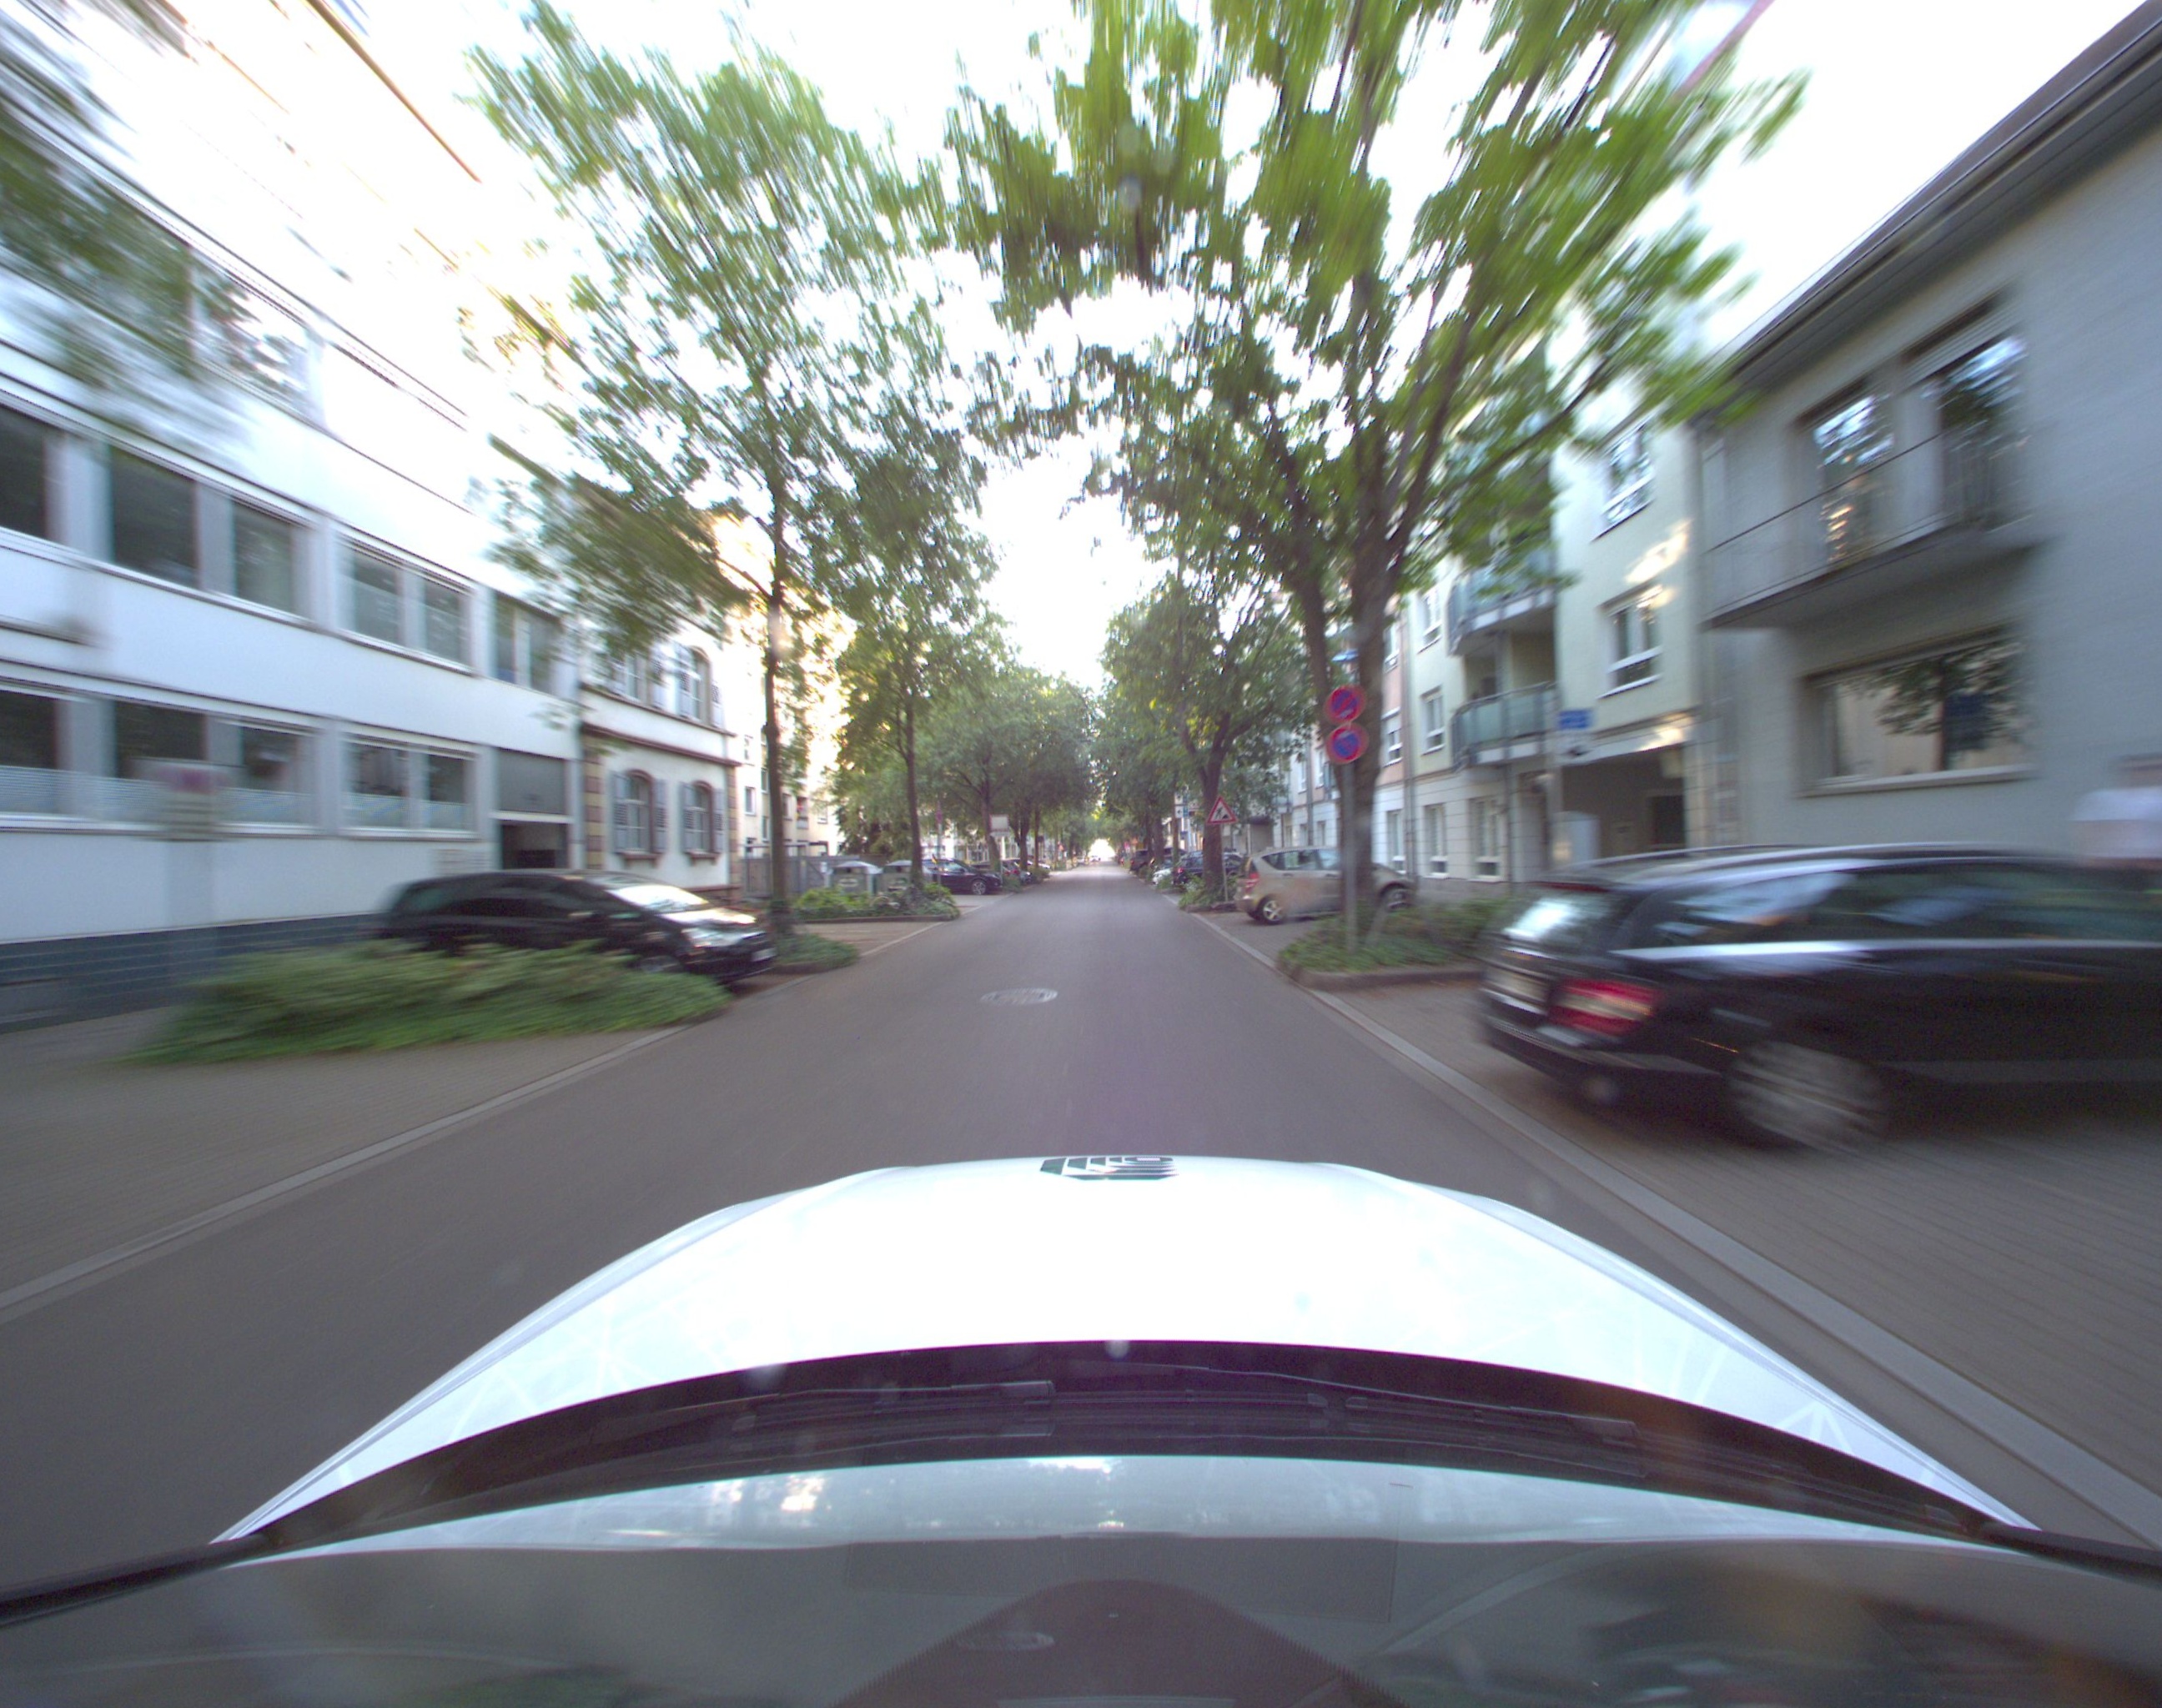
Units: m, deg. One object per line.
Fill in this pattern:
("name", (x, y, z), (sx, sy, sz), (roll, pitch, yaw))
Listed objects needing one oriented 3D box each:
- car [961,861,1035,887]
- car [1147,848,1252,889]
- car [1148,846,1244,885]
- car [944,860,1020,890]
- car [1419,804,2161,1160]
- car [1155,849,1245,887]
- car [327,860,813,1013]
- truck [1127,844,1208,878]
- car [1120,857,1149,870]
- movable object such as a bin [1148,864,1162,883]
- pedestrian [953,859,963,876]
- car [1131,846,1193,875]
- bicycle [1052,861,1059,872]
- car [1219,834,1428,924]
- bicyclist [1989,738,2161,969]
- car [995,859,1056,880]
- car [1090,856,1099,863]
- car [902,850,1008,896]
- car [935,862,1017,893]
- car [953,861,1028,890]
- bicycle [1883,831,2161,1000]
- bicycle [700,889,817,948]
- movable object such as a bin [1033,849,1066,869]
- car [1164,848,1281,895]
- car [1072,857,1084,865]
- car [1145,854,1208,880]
("car", (-5.083, 1.233, 50.301), (4.272, 1.430, 1.880), (-2, 0, 1))
("car", (5.457, 0.657, 37.970), (4.584, 1.468, 1.796), (-5, 0, 0))
("car", (6.049, 0.586, 43.136), (4.631, 1.617, 2.008), (-5, 0, -3))
("car", (-5.429, 1.155, 45.012), (3.975, 1.490, 1.824), (-2, 0, -1))
("car", (4.602, 0.575, 4.697), (4.437, 1.427, 2.014), (-5, -1, 5))
("car", (5.866, 0.679, 40.545), (4.206, 1.438, 1.931), (-5, -1, 3))
("car", (-6.256, 0.962, 10.443), (4.834, 1.621, 2.161), (-2, 0, 2))
("truck", (6.421, 0.506, 61.180), (5.865, 2.311, 2.213), (-2, -1, 2))
("car", (7.382, 1.336, 112.591), (3.970, 1.585, 2.002), (-2, -1, 3))
("movable object such as a bin", (4.466, 1.153, 49.027), (0.757, 1.084, 0.786), (-3, 0, 2))
("pedestrian", (-13.159, 1.435, 86.927), (0.884, 1.851, 0.876), (-2, 0, 2))
("car", (6.289, 0.512, 63.926), (4.585, 2.066, 2.197), (-2, 0, 0))
("bicycle", (-2.827, 1.390, 89.483), (0.681, 1.152, 1.978), (-2, 0, -4))
("car", (5.204, 0.524, 17.892), (3.956, 1.585, 1.916), (-4, -1, 0))
("bicyclist", (7.952, -0.013, 6.106), (0.968, 1.604, 1.135), (-2, -1, -3))
("car", (-4.485, 1.279, 66.176), (4.599, 1.552, 2.077), (-1, 0, 3))
("car", (3.139, 1.229, 188.112), (2.003, 1.613, 4.119), (-2, 0, 0))
("car", (-5.709, 0.854, 37.412), (4.490, 1.955, 2.000), (-2, 0, 0))
("car", (-5.451, 1.222, 42.629), (3.974, 1.464, 1.922), (-2, 0, -1))
("car", (-5.250, 1.249, 47.675), (3.966, 1.565, 1.933), (-2, 0, 6))
("bicycle", (7.743, 0.419, 5.742), (0.619, 1.164, 3.396), (-2, 0, -4))
("bicycle", (-4.952, 0.988, 12.549), (1.545, 0.830, 0.614), (-2, 0, 4))
("movable object such as a bin", (-4.009, 0.587, 104.048), (4.039, 2.383, 2.780), (-2, 0, -4))
("car", (5.477, 0.658, 31.879), (4.076, 1.451, 1.932), (-5, 0, -4))
("car", (-0.597, 1.278, 149.120), (1.989, 1.288, 3.996), (-2, 0, -3))
("car", (5.993, 0.829, 51.560), (3.764, 1.544, 1.877), (-1, 0, 0))
